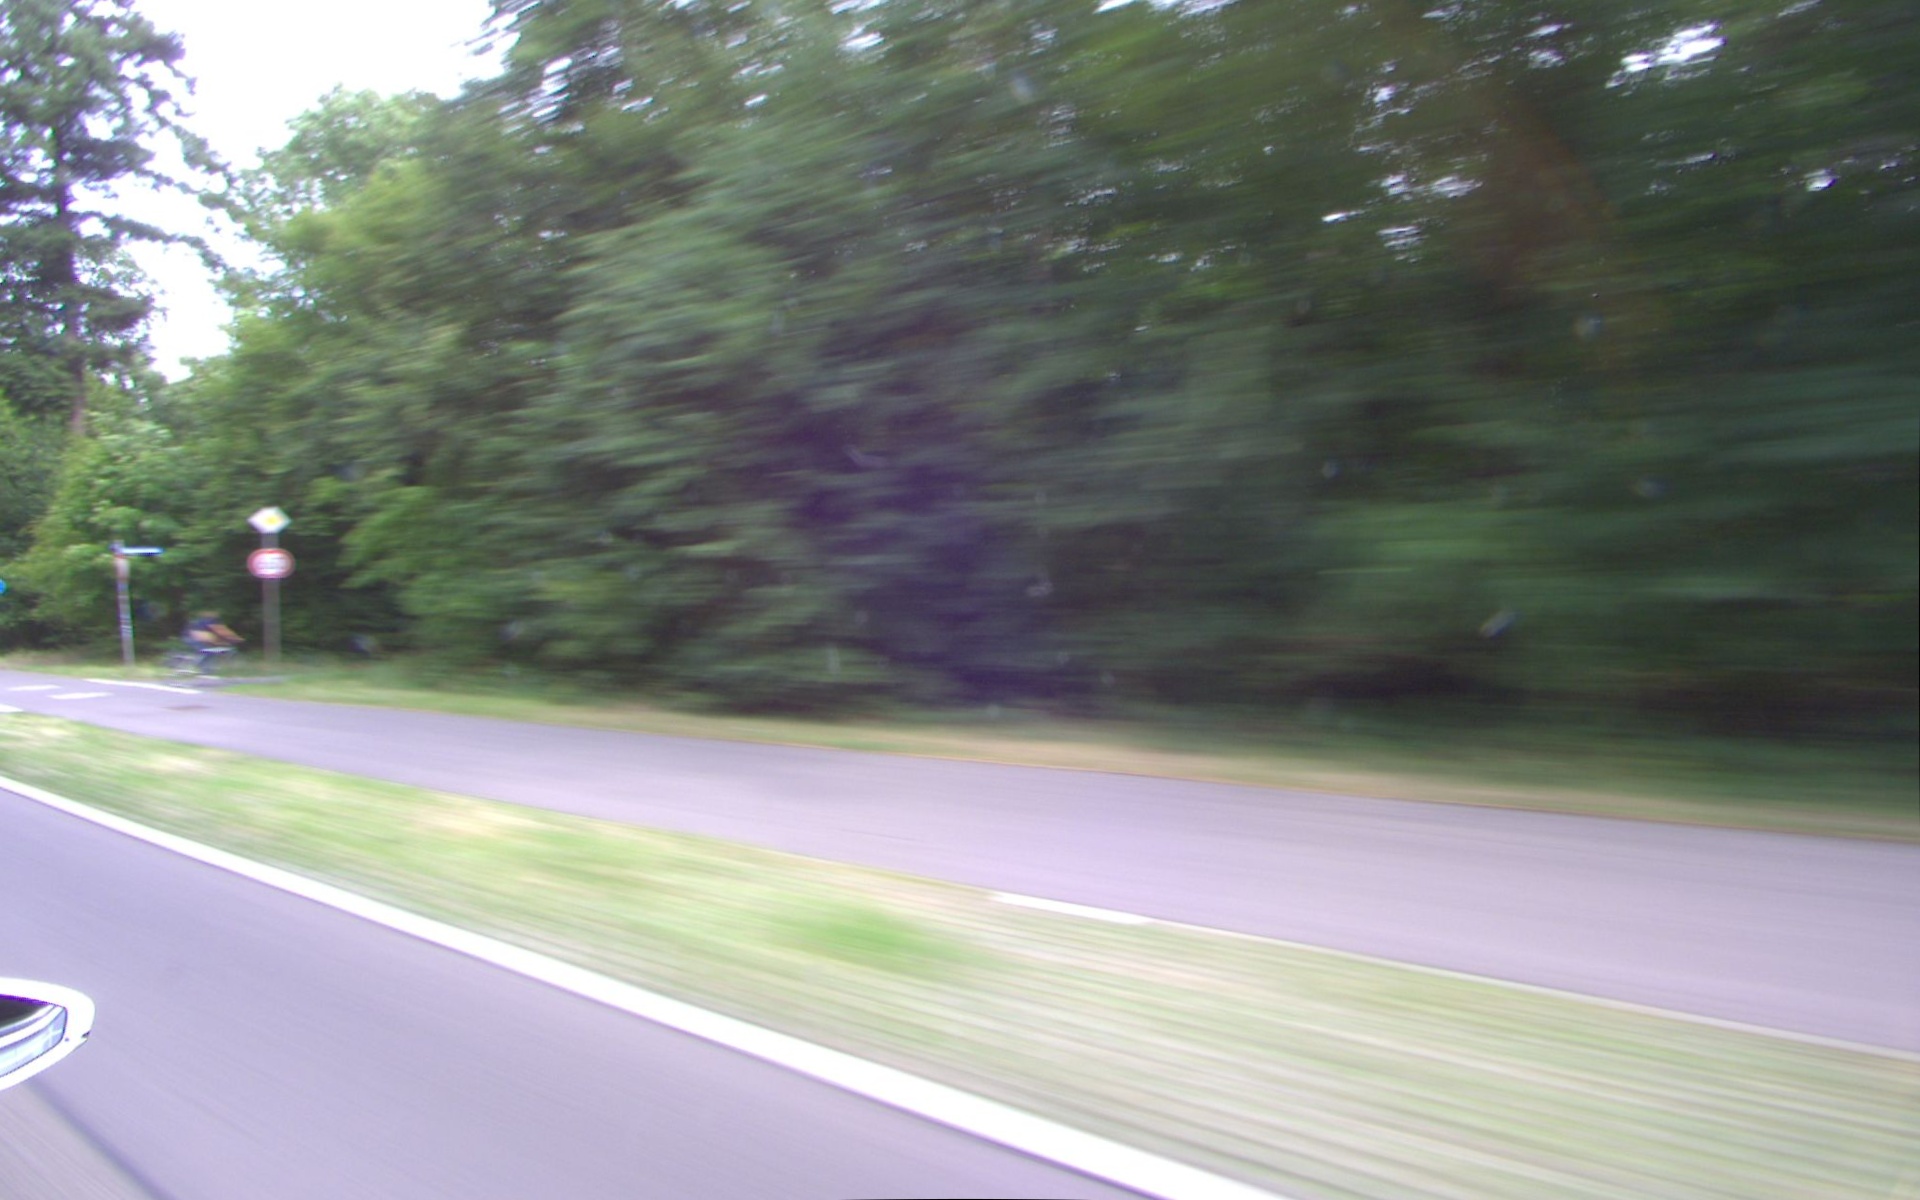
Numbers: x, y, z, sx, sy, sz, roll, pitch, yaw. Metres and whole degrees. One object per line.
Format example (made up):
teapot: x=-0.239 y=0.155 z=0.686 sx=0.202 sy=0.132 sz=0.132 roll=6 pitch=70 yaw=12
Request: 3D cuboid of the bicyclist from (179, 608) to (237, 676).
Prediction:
bicyclist: x=-16.730 y=0.921 z=22.288 sx=0.887 sy=1.489 sz=0.708 roll=0 pitch=0 yaw=-25

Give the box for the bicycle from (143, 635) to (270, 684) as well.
bicycle: x=-16.735 y=1.304 z=22.300 sx=2.147 sy=1.007 sz=0.708 roll=0 pitch=-1 yaw=-25
